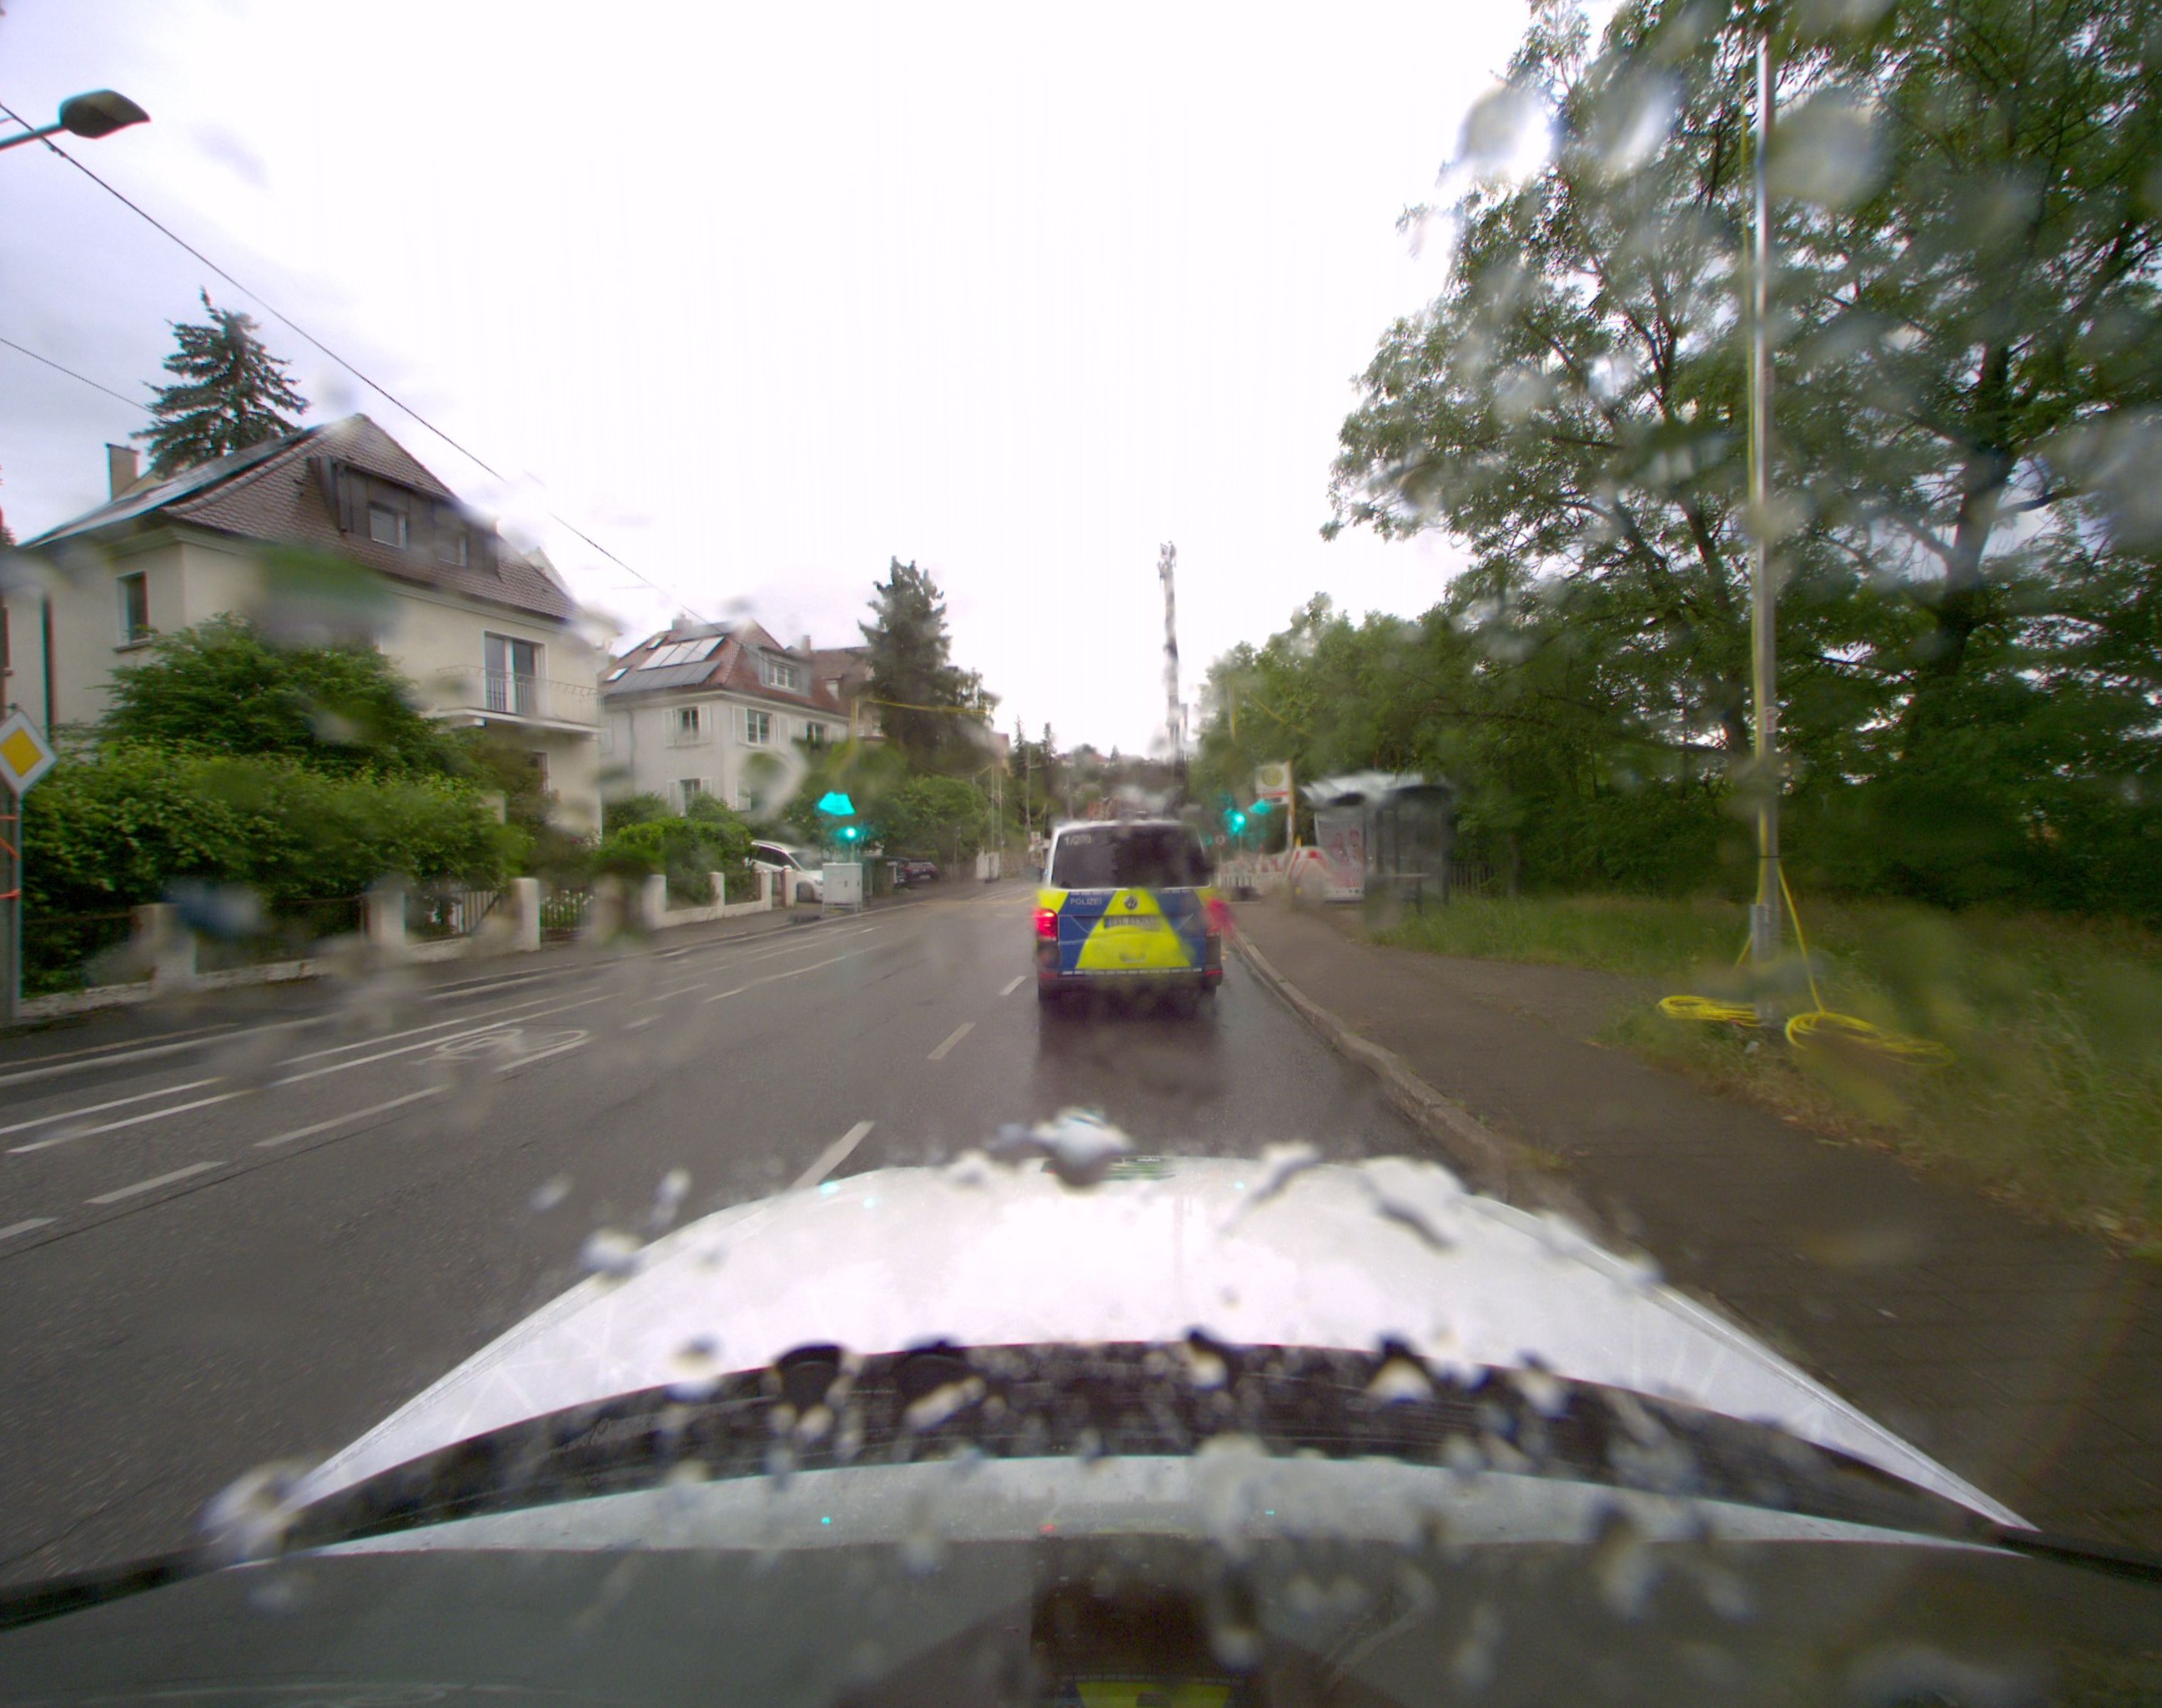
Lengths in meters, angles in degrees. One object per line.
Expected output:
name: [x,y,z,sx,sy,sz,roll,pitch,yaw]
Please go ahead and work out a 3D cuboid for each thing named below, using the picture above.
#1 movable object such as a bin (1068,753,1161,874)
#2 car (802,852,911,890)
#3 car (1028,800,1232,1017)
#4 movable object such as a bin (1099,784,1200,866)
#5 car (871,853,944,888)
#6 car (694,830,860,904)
movable object such as a bin: [1.396,-1.448,31.022,2.862,4.170,4.498,-2,0,8]
car: [-9.490,0.727,34.532,3.958,1.526,1.948,-1,-1,14]
car: [0.410,0.532,9.826,1.903,2.010,4.436,0,-1,-2]
movable object such as a bin: [4.794,-1.831,55.373,3.646,5.066,7.208,-3,-1,33]
car: [-8.062,0.757,37.642,1.795,1.525,3.955,0,-1,-37]
car: [-10.203,0.373,27.416,4.927,1.616,1.872,9,3,15]
